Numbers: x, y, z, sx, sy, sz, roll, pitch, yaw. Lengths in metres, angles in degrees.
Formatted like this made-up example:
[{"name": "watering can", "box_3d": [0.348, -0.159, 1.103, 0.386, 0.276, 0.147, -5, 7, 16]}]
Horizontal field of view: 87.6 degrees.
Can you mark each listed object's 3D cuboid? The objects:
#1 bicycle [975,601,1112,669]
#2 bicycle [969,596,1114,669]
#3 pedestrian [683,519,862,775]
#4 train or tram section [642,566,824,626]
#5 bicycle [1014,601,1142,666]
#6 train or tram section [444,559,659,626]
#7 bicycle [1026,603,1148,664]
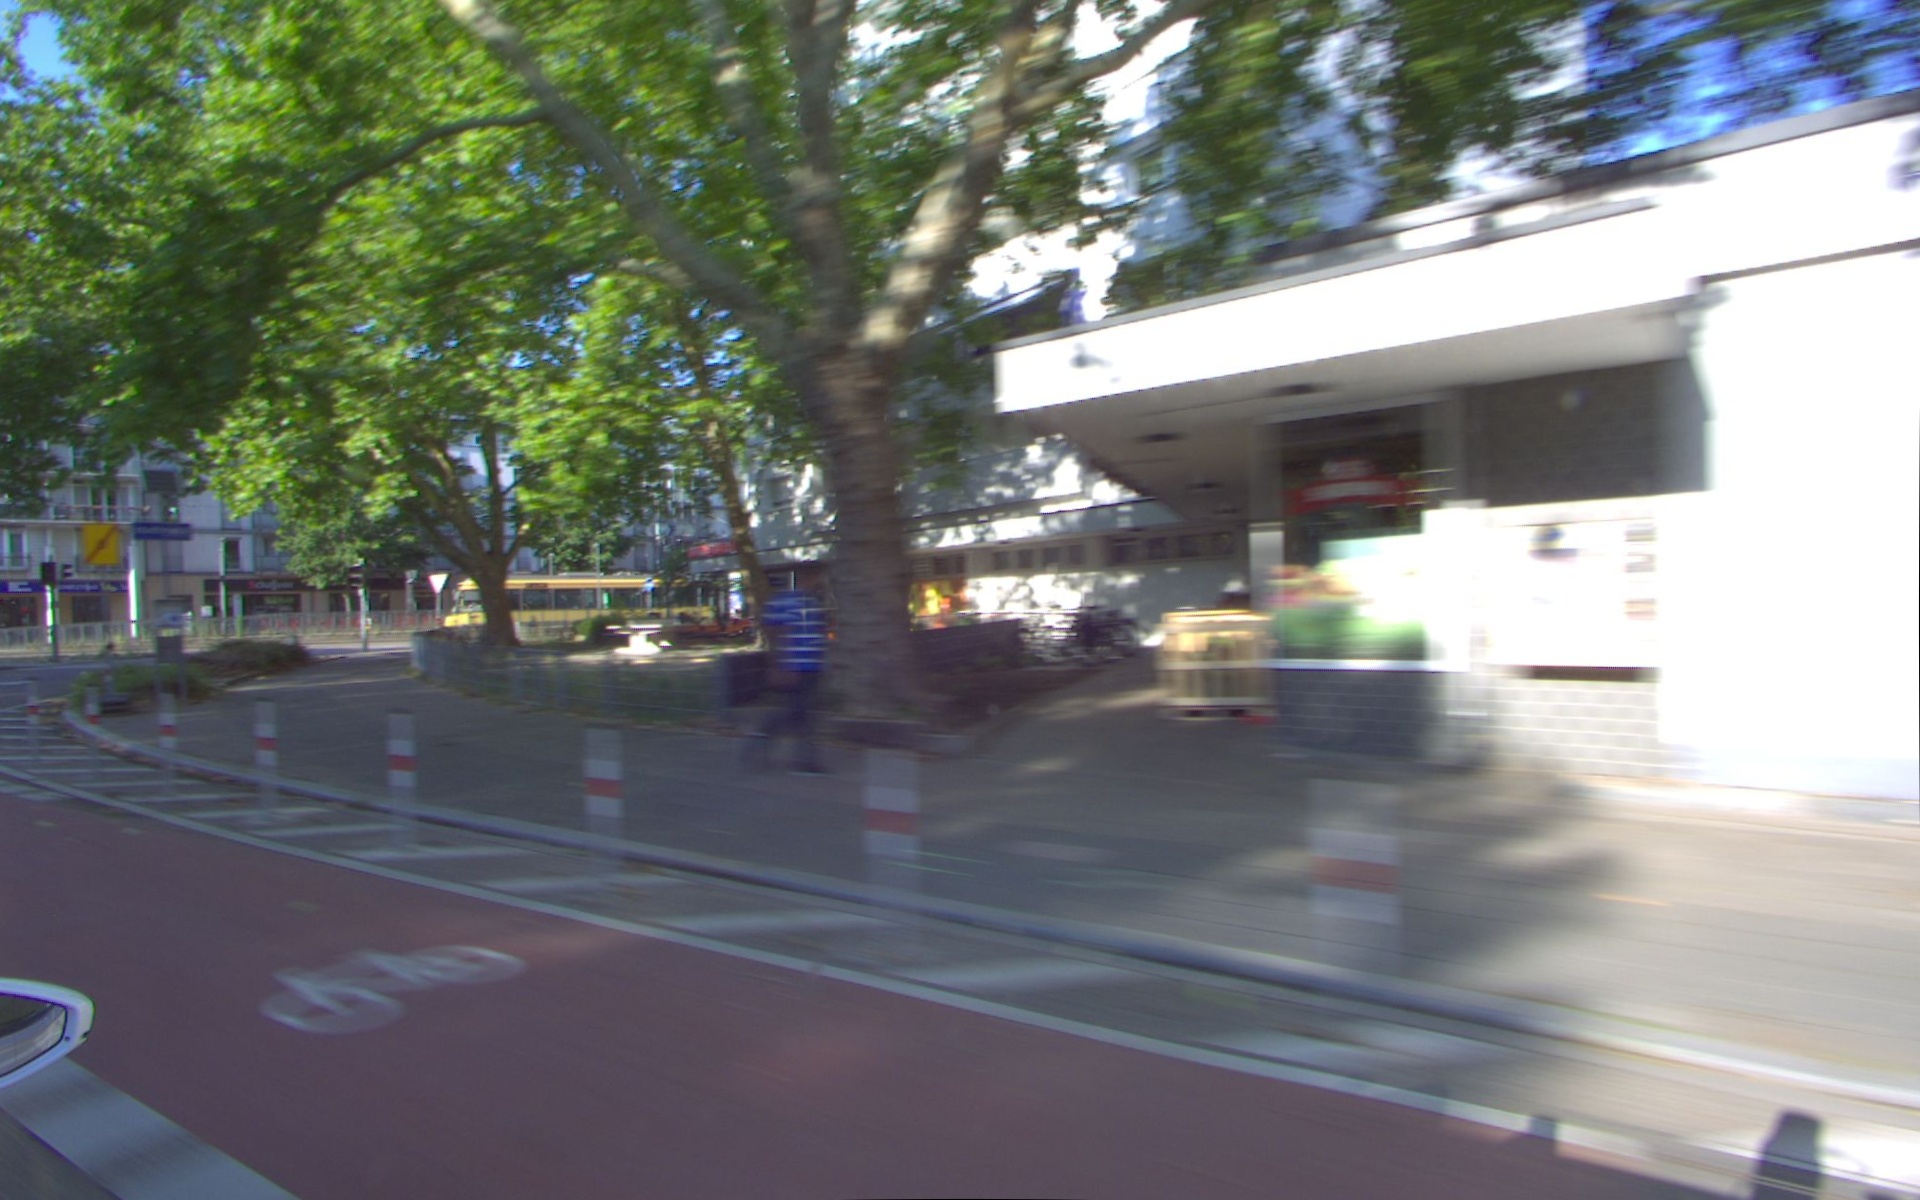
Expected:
[{"name": "bicycle", "box_3d": [1.528, 0.655, 18.313, 2.382, 1.188, 0.767, -1, -2, 14]}, {"name": "bicycle", "box_3d": [1.403, 0.575, 17.263, 2.382, 1.188, 0.767, -1, -2, 14]}, {"name": "pedestrian", "box_3d": [-1.604, 0.377, 8.596, 1.137, 2.041, 0.824, -2, 3, 33]}, {"name": "train or tram section", "box_3d": [-15.247, -0.131, 68.126, 11.678, 3.686, 3.396, 1, -3, -35]}, {"name": "bicycle", "box_3d": [2.290, 0.659, 19.445, 2.382, 1.188, 0.767, -1, -2, 14]}, {"name": "train or tram section", "box_3d": [-24.700, -0.309, 61.046, 11.678, 3.686, 3.396, 1, -3, -35]}, {"name": "bicycle", "box_3d": [2.584, 0.695, 20.348, 2.382, 1.188, 0.767, -1, -2, 14]}]
